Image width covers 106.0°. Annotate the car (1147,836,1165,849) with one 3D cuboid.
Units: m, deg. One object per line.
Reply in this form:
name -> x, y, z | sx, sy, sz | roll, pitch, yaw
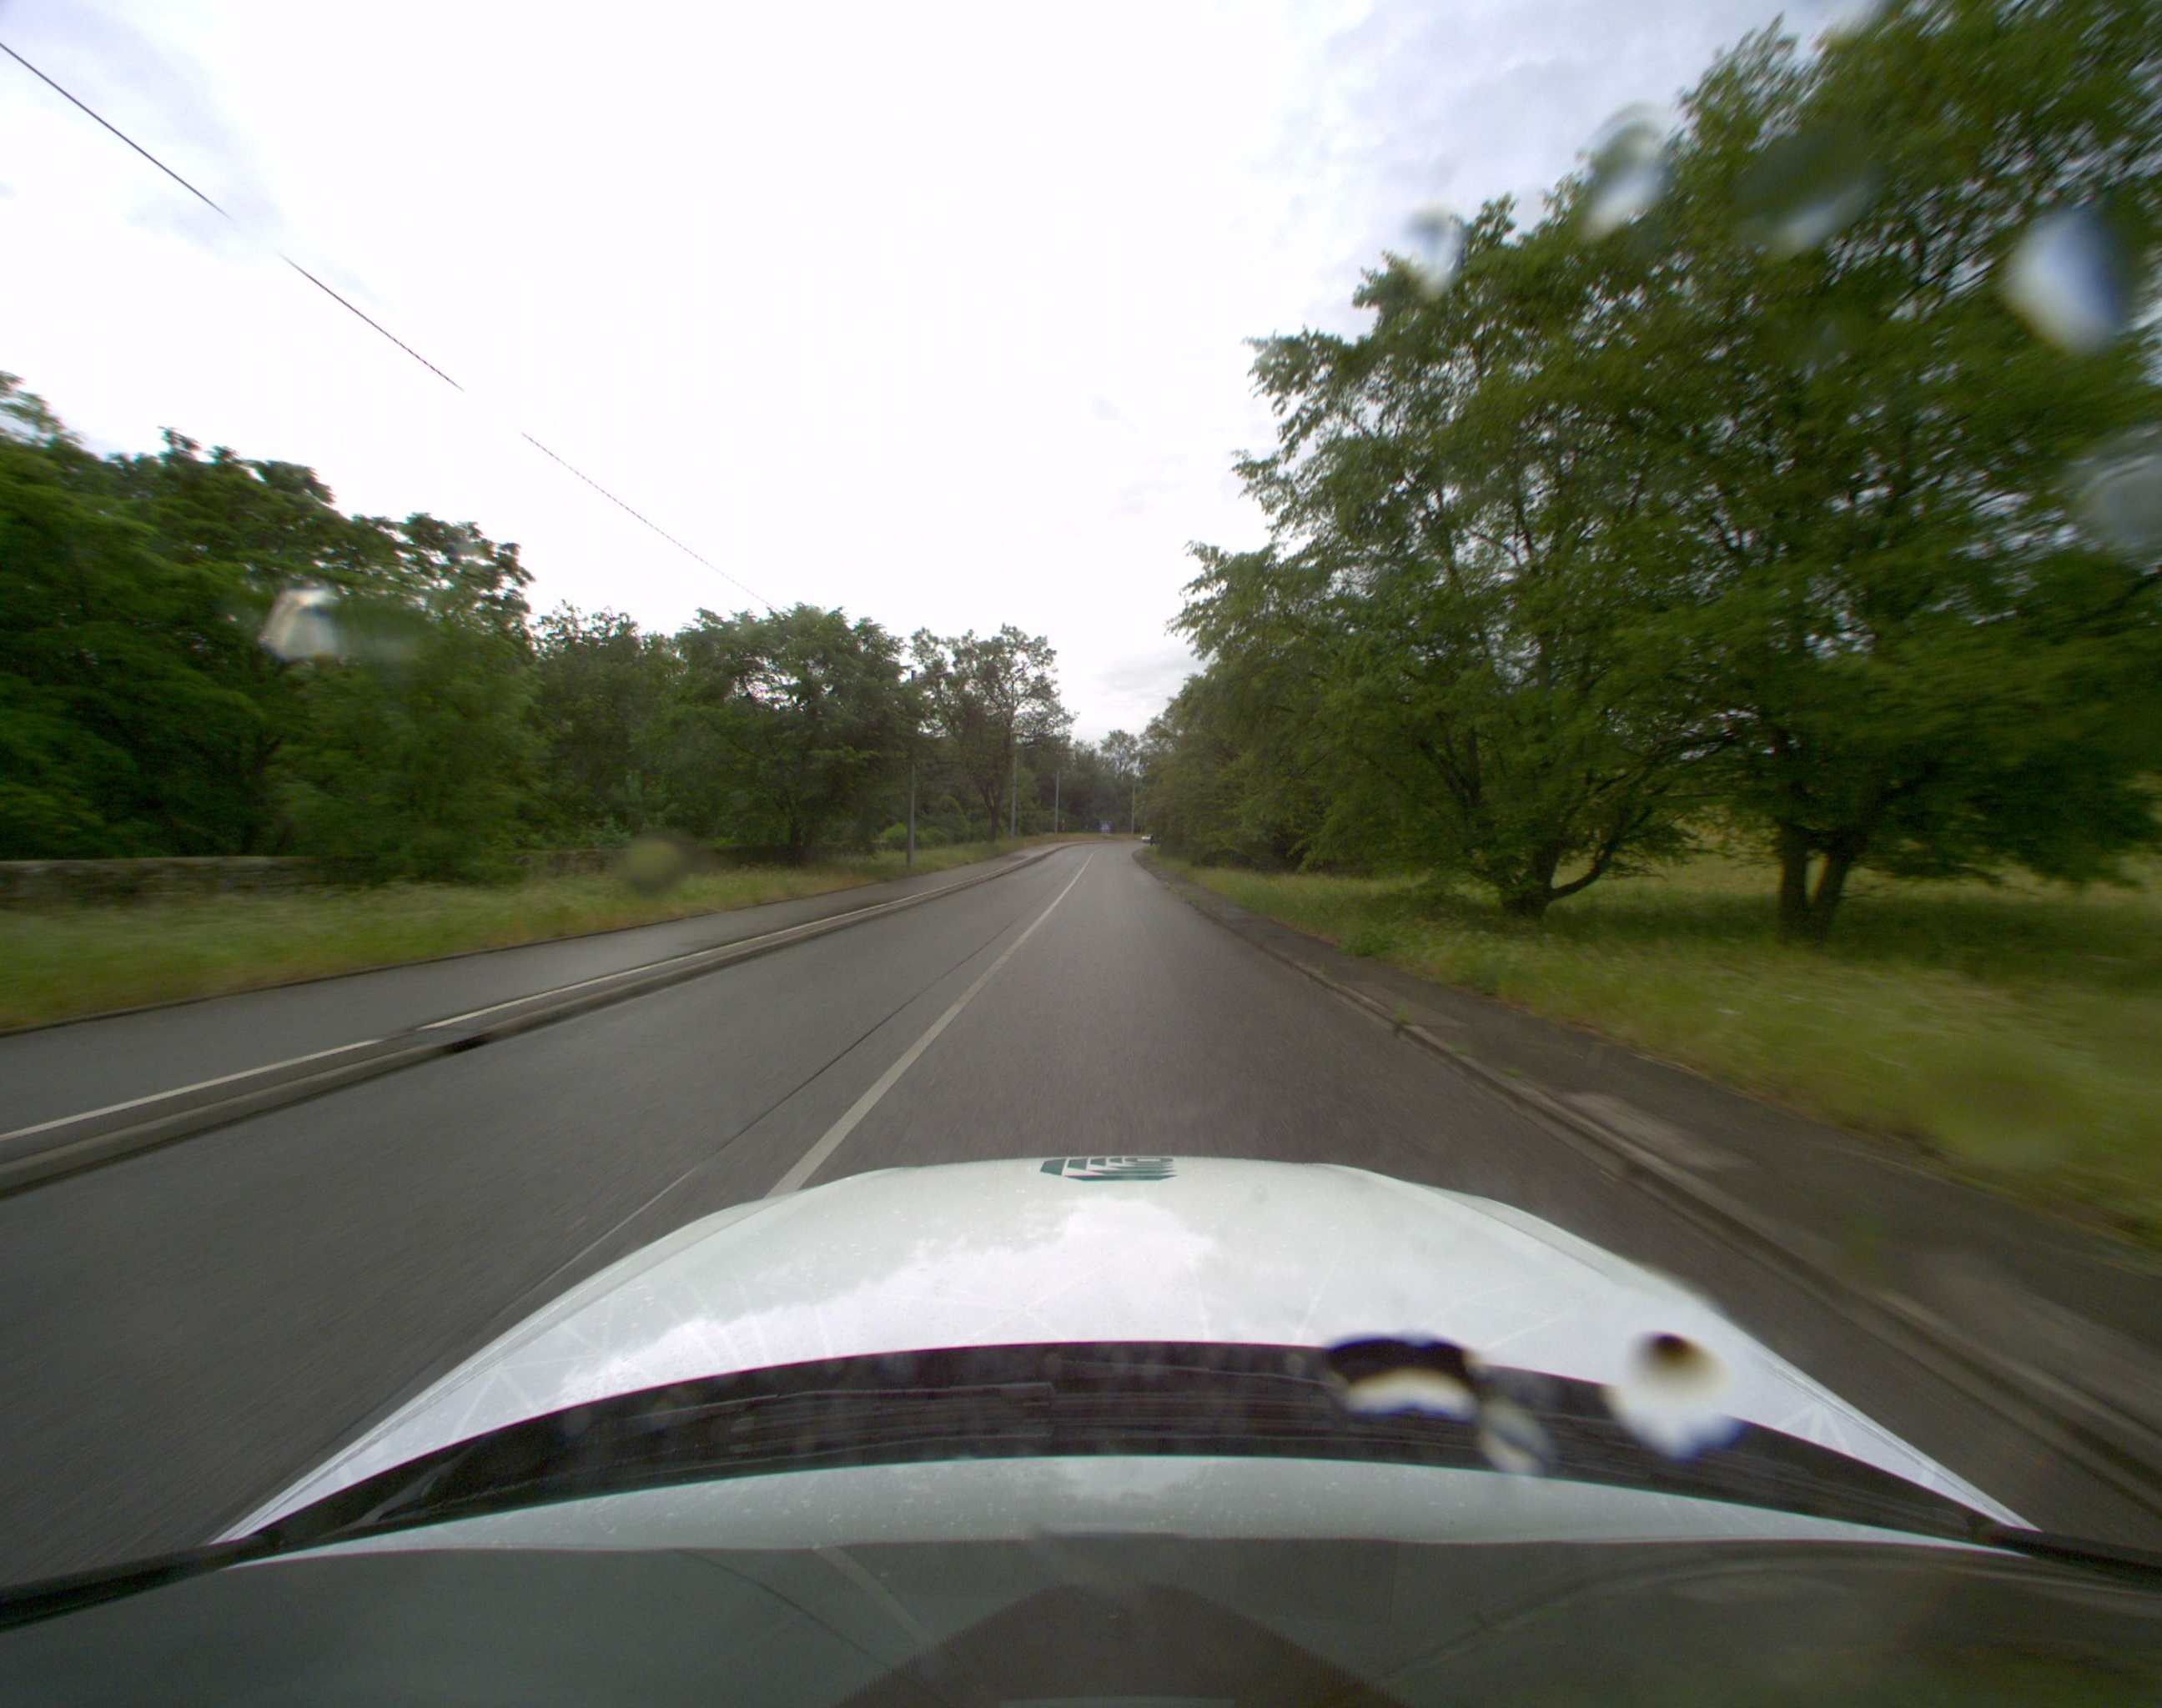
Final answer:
car -> 11.325, -1.749, 123.369 | 1.727, 1.717, 4.019 | 2, 0, 19
